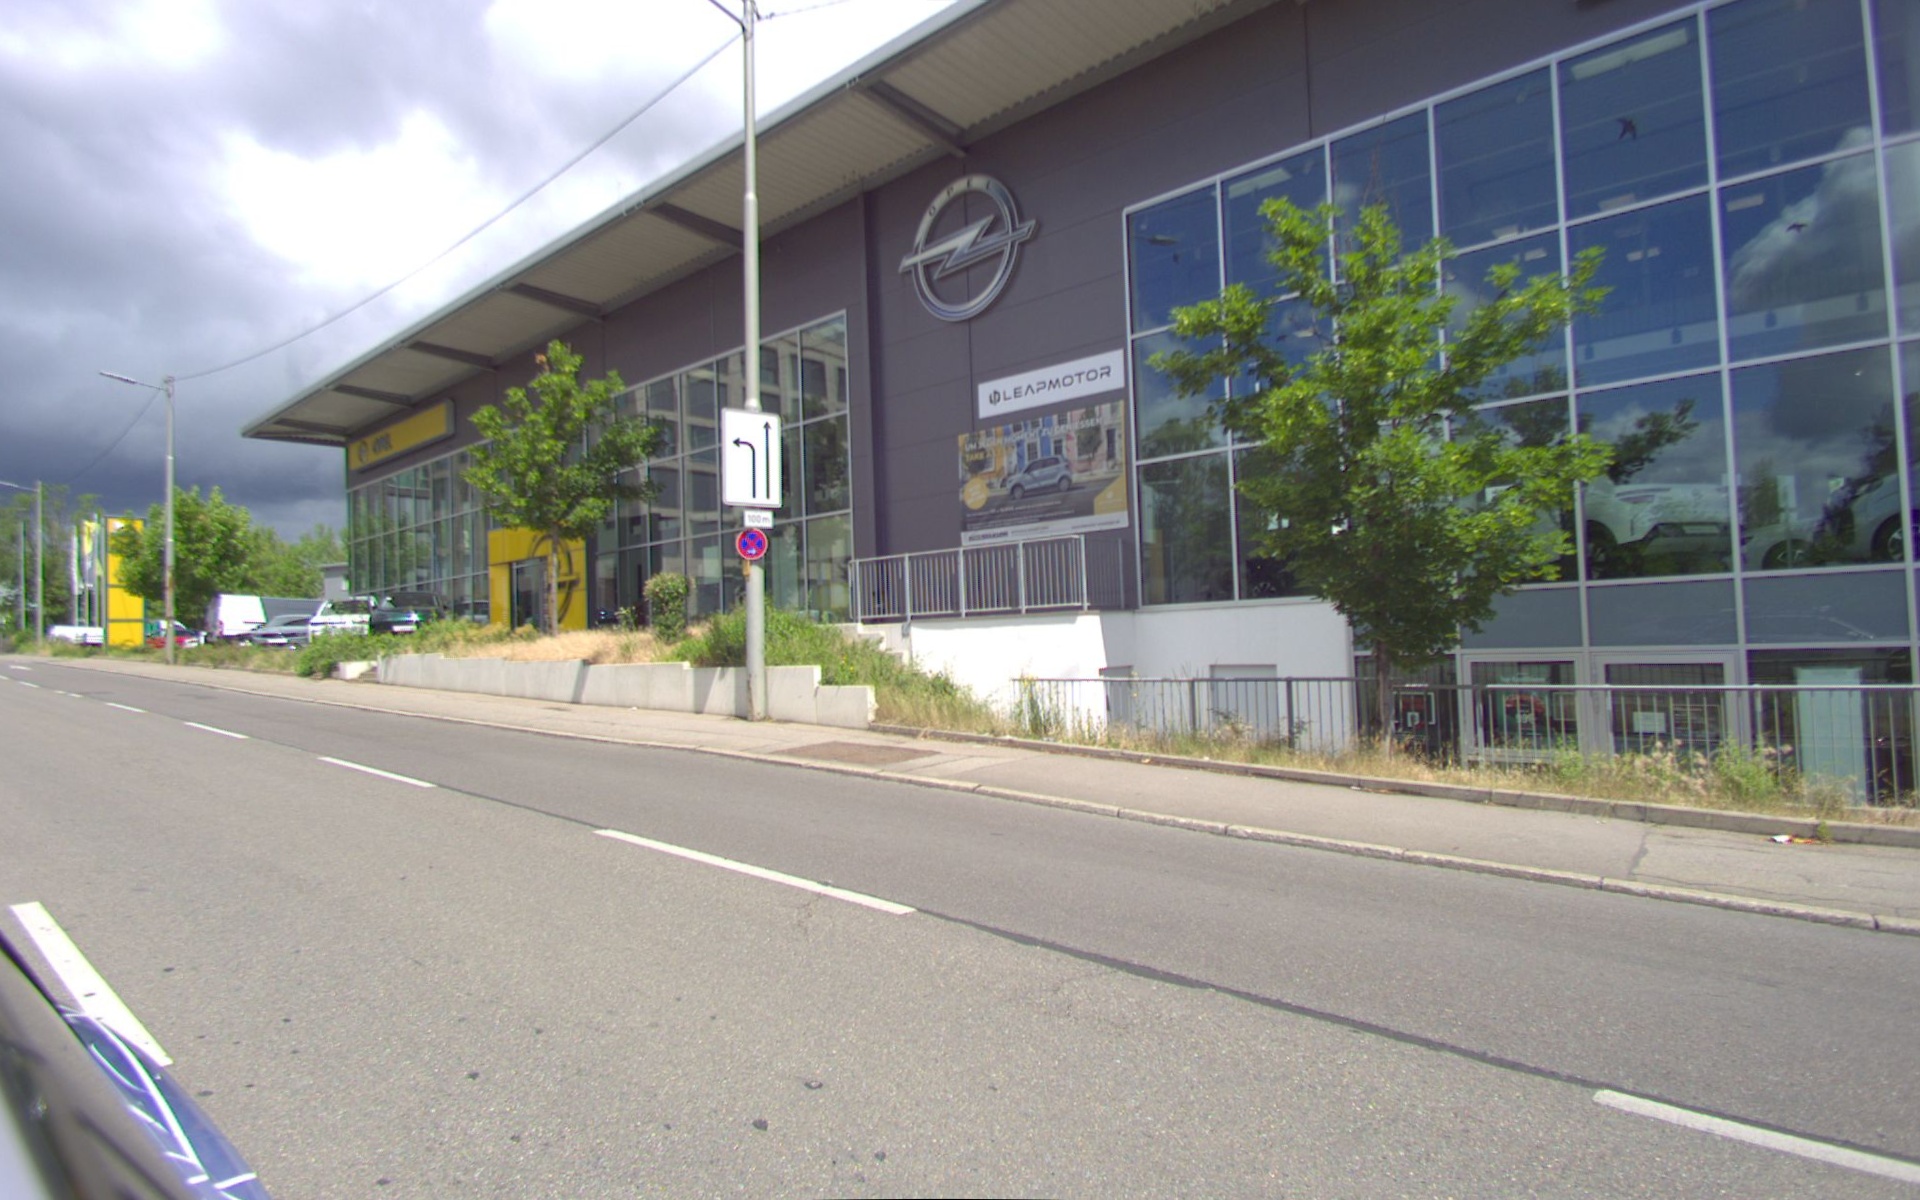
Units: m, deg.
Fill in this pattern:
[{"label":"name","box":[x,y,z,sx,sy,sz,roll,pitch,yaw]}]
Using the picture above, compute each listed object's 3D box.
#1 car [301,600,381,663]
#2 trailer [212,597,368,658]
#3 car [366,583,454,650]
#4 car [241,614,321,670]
[{"label":"car","box":[-19.224,0.962,31.579,1.966,1.807,4.012,1,-2,-29]},{"label":"trailer","box":[-27.438,1.104,41.593,1.998,2.367,5.011,-1,-2,39]},{"label":"car","box":[-15.697,0.485,28.792,1.966,1.741,4.011,1,-2,-32]},{"label":"car","box":[-23.490,1.423,35.140,1.966,1.807,4.012,1,-1,-29]}]
